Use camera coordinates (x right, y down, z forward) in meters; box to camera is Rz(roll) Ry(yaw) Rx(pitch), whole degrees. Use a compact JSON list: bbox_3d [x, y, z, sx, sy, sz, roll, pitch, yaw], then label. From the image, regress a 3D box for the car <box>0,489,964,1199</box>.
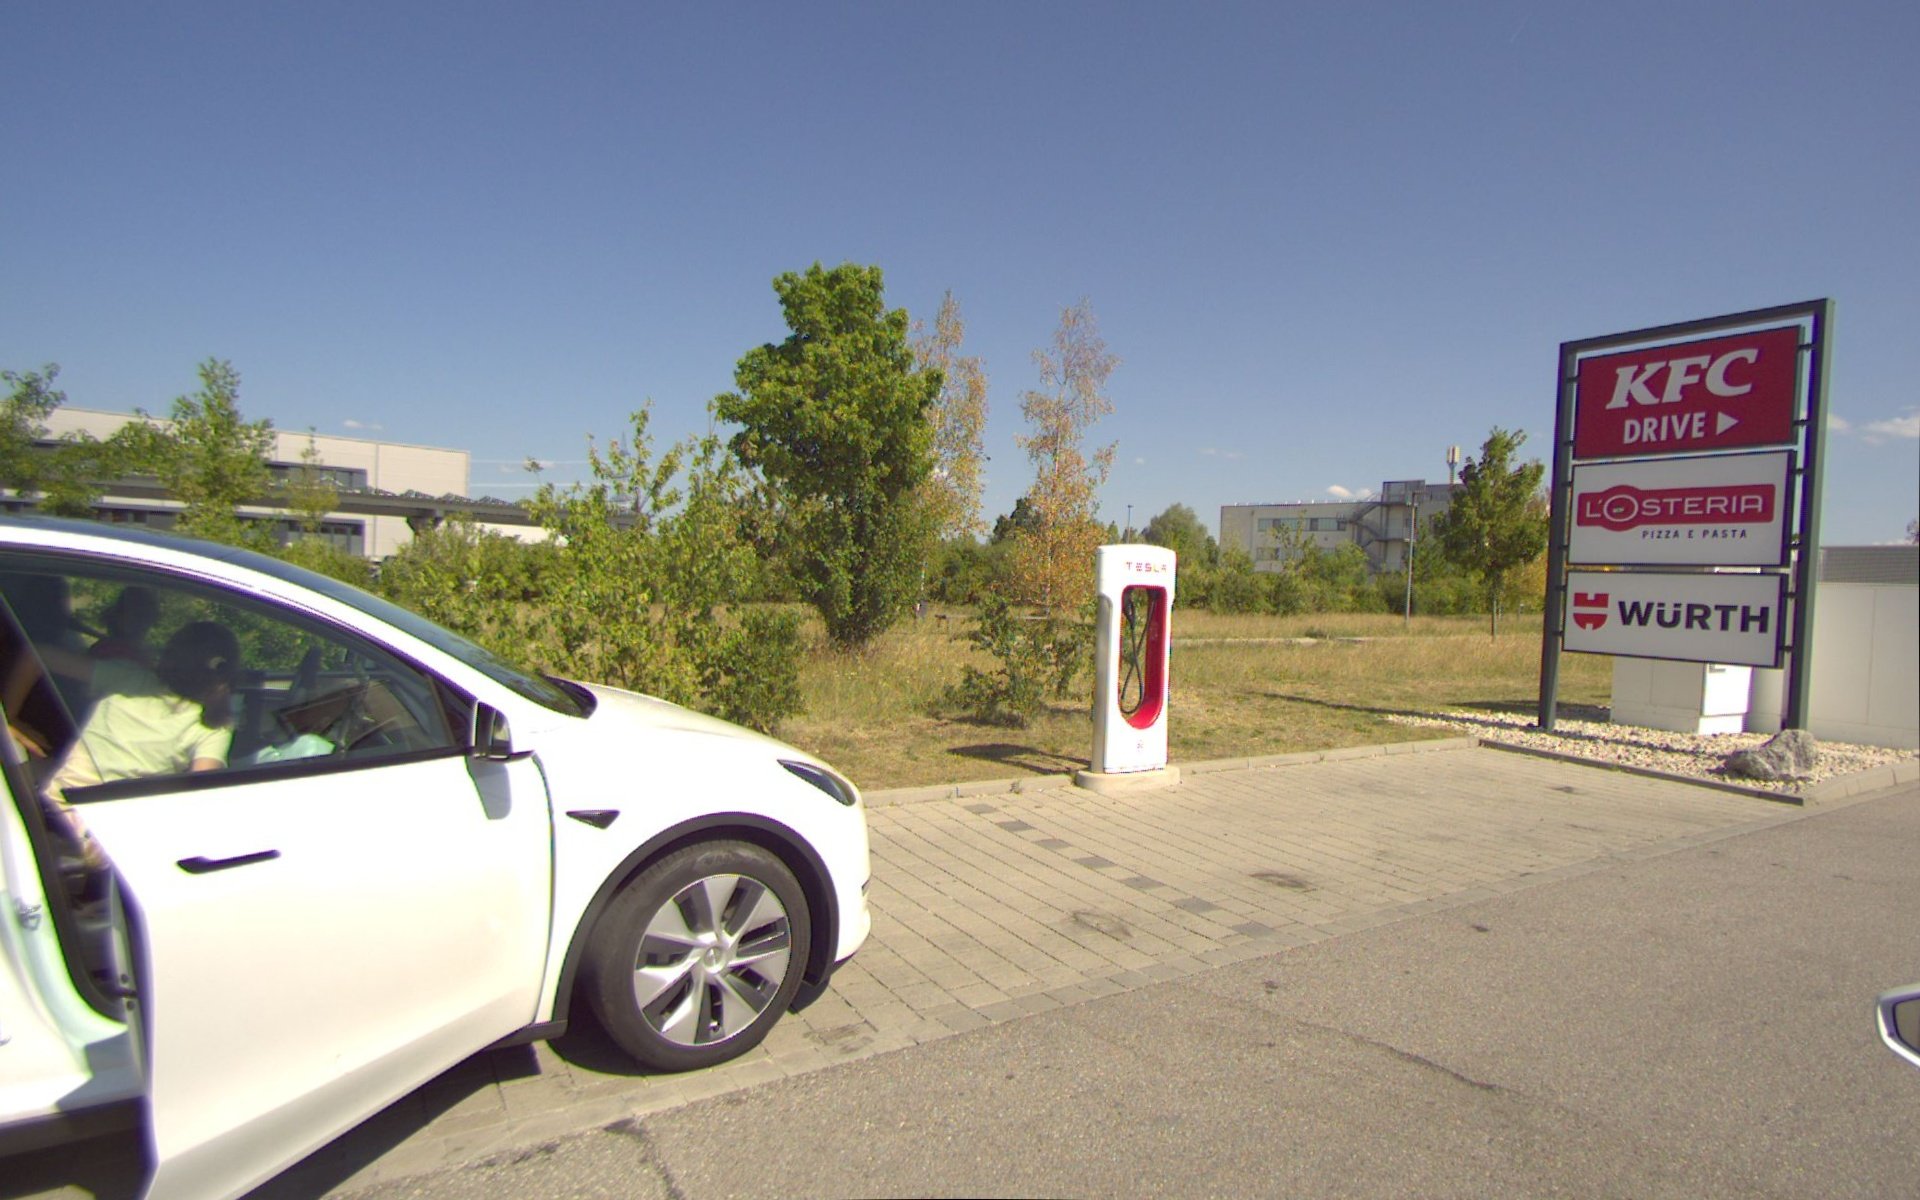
[{"bbox_3d":[-2.345,0.546,3.028,4.445,1.622,1.851,2,2,-36],"label":"car"}]
